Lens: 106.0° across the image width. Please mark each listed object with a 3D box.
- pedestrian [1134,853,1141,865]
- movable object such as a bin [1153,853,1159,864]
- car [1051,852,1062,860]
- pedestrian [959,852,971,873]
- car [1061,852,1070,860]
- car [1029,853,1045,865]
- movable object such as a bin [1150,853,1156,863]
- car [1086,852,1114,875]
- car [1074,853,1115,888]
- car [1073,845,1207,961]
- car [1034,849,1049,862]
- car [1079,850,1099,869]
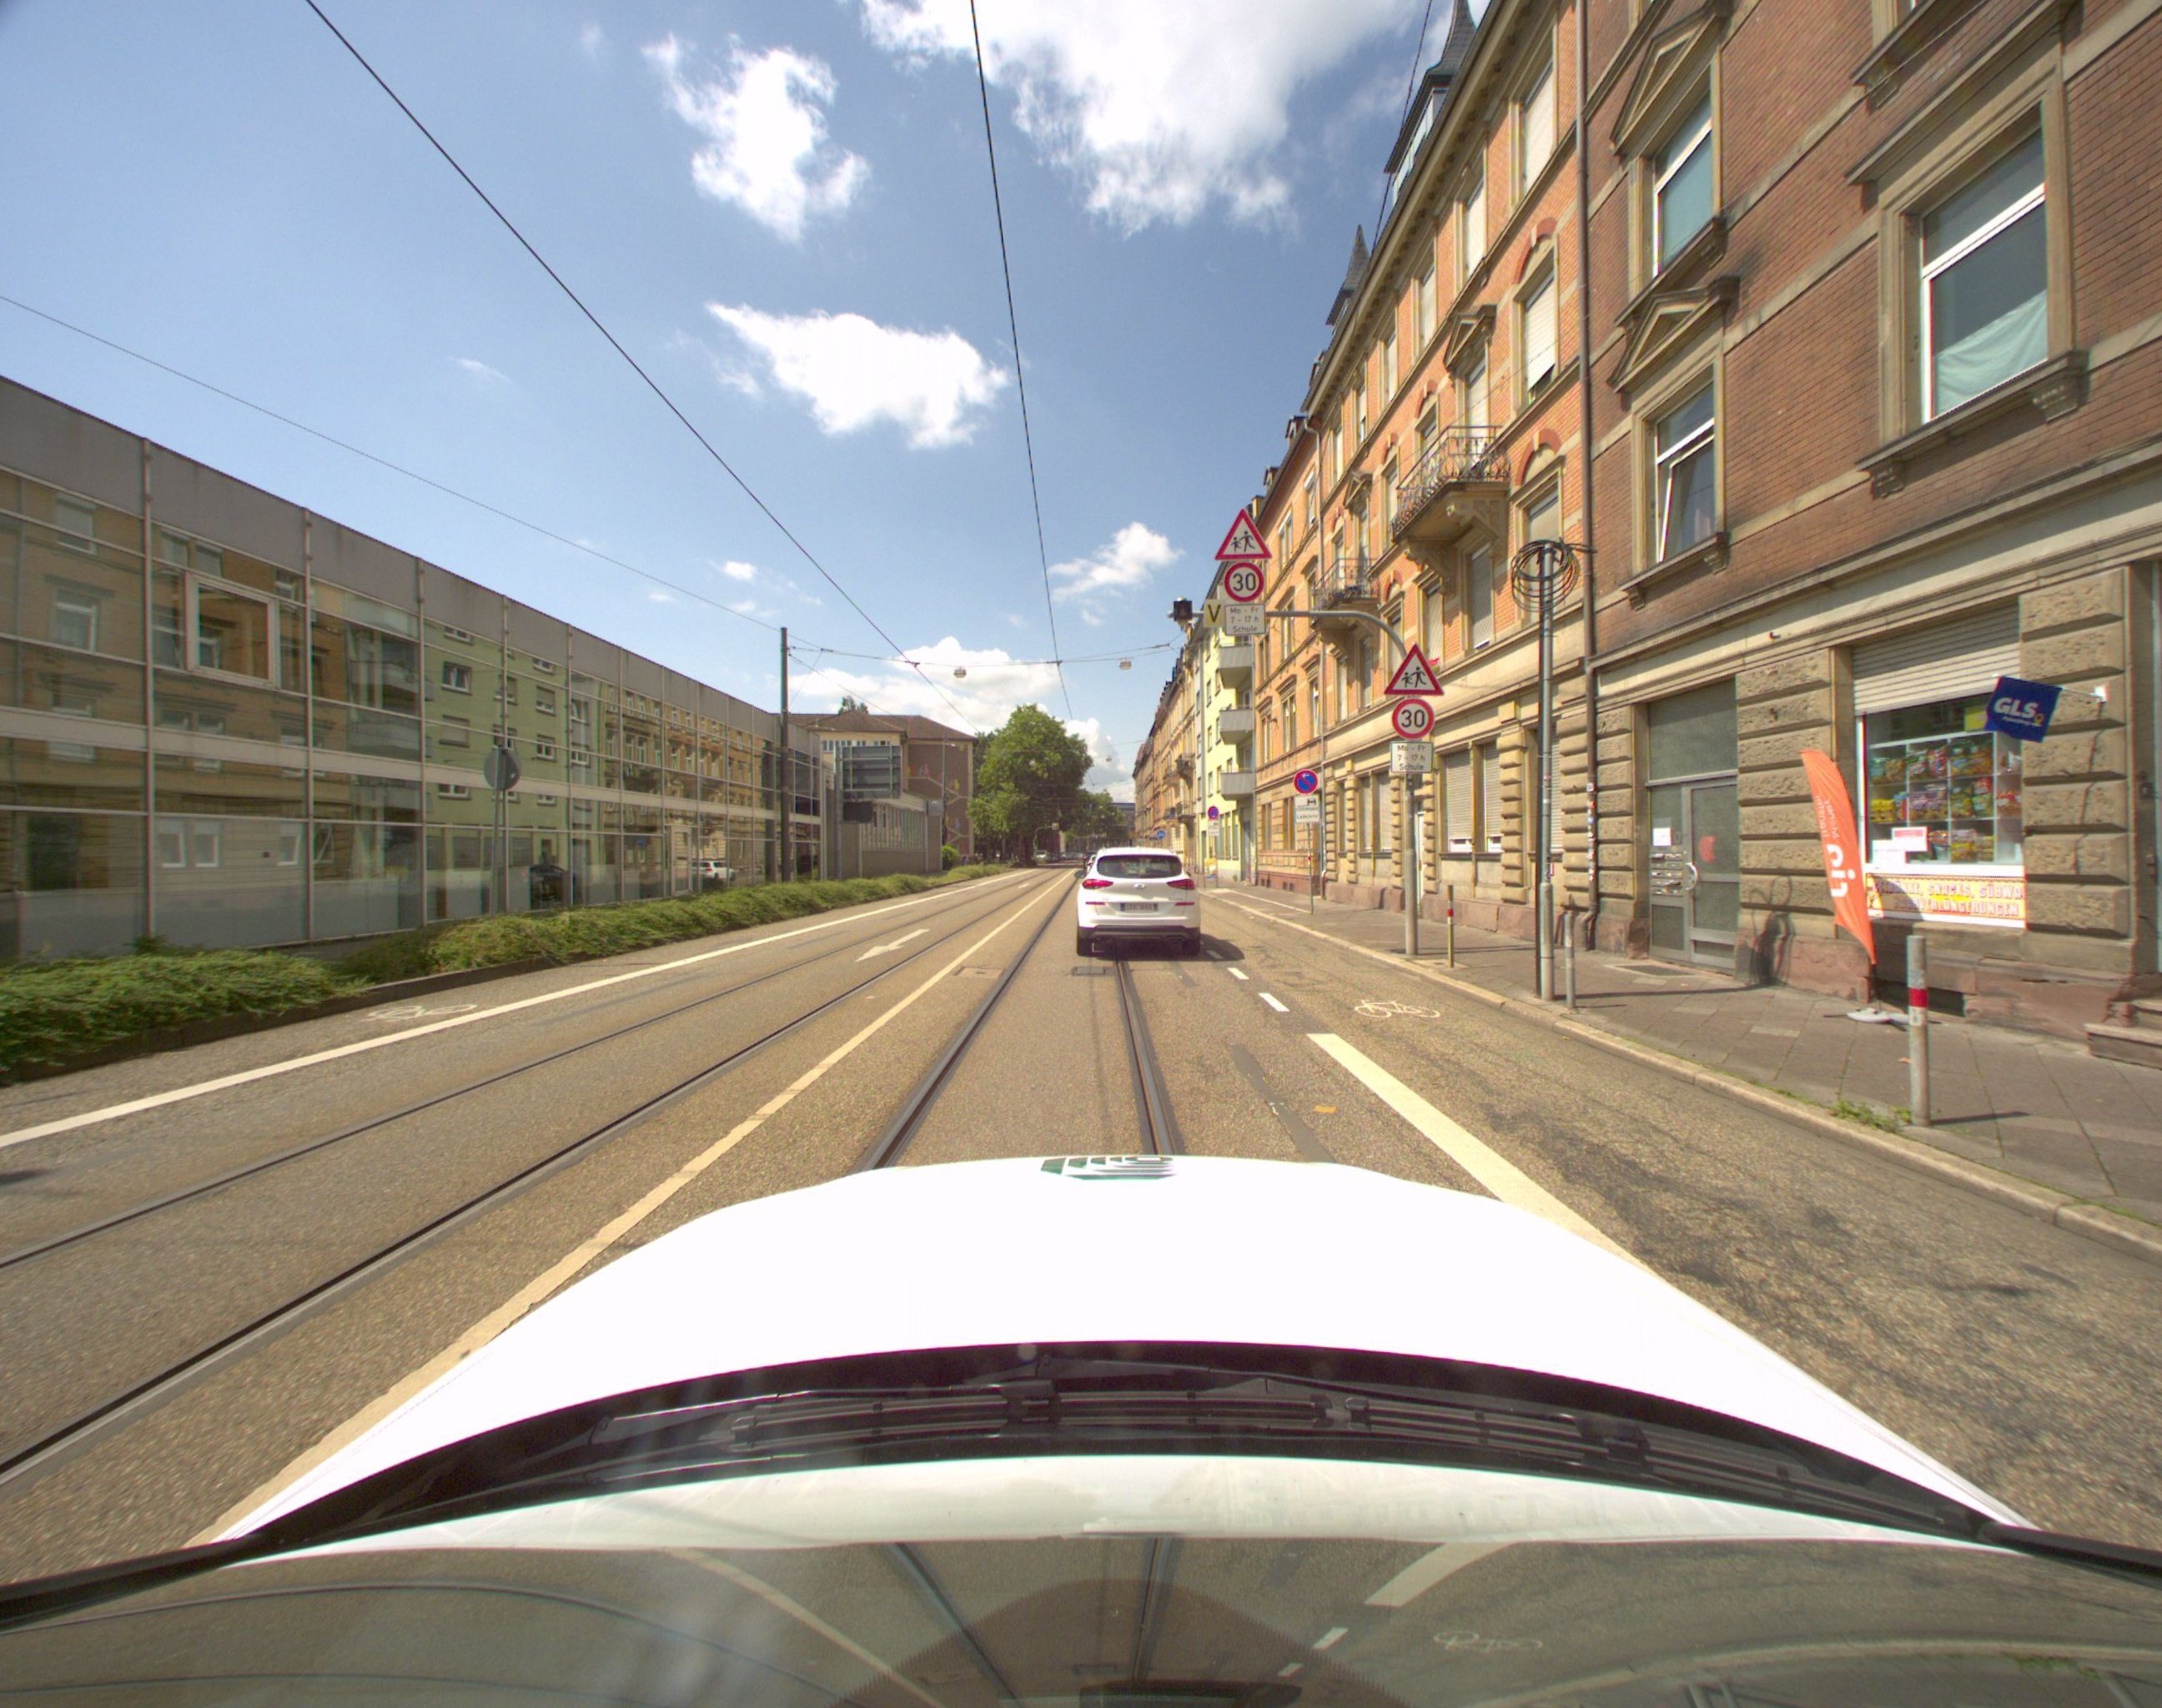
[{"bbox_3d":[7.822,0.671,112.374,0.934,1.572,1.050,0,0,1],"label":"pedestrian"},{"bbox_3d":[8.083,0.500,87.423,0.610,1.143,0.639,0,0,1],"label":"movable object such as a bin"},{"bbox_3d":[-4.726,0.367,156.357,1.944,1.632,3.998,0,0,-1],"label":"car"},{"bbox_3d":[-10.649,0.773,74.676,0.877,1.865,1.081,-2,0,1],"label":"pedestrian"},{"bbox_3d":[-3.628,0.434,187.606,1.944,1.632,3.998,0,0,-1],"label":"car"},{"bbox_3d":[-6.295,0.669,117.147,1.943,1.632,4.576,0,0,1],"label":"car"},{"bbox_3d":[7.848,0.411,88.856,0.610,1.143,0.639,0,0,1],"label":"movable object such as a bin"},{"bbox_3d":[1.316,0.614,56.172,1.808,1.524,3.956,-1,0,1],"label":"car"},{"bbox_3d":[0.671,0.738,38.291,1.807,1.524,4.087,-2,0,2],"label":"car"},{"bbox_3d":[0.824,0.692,13.638,1.847,1.634,4.178,0,0,-1],"label":"car"},{"bbox_3d":[-5.942,0.271,123.425,1.943,1.895,4.566,0,0,1],"label":"car"},{"bbox_3d":[0.782,0.469,75.783,1.808,1.661,4.086,-1,0,1],"label":"car"}]
